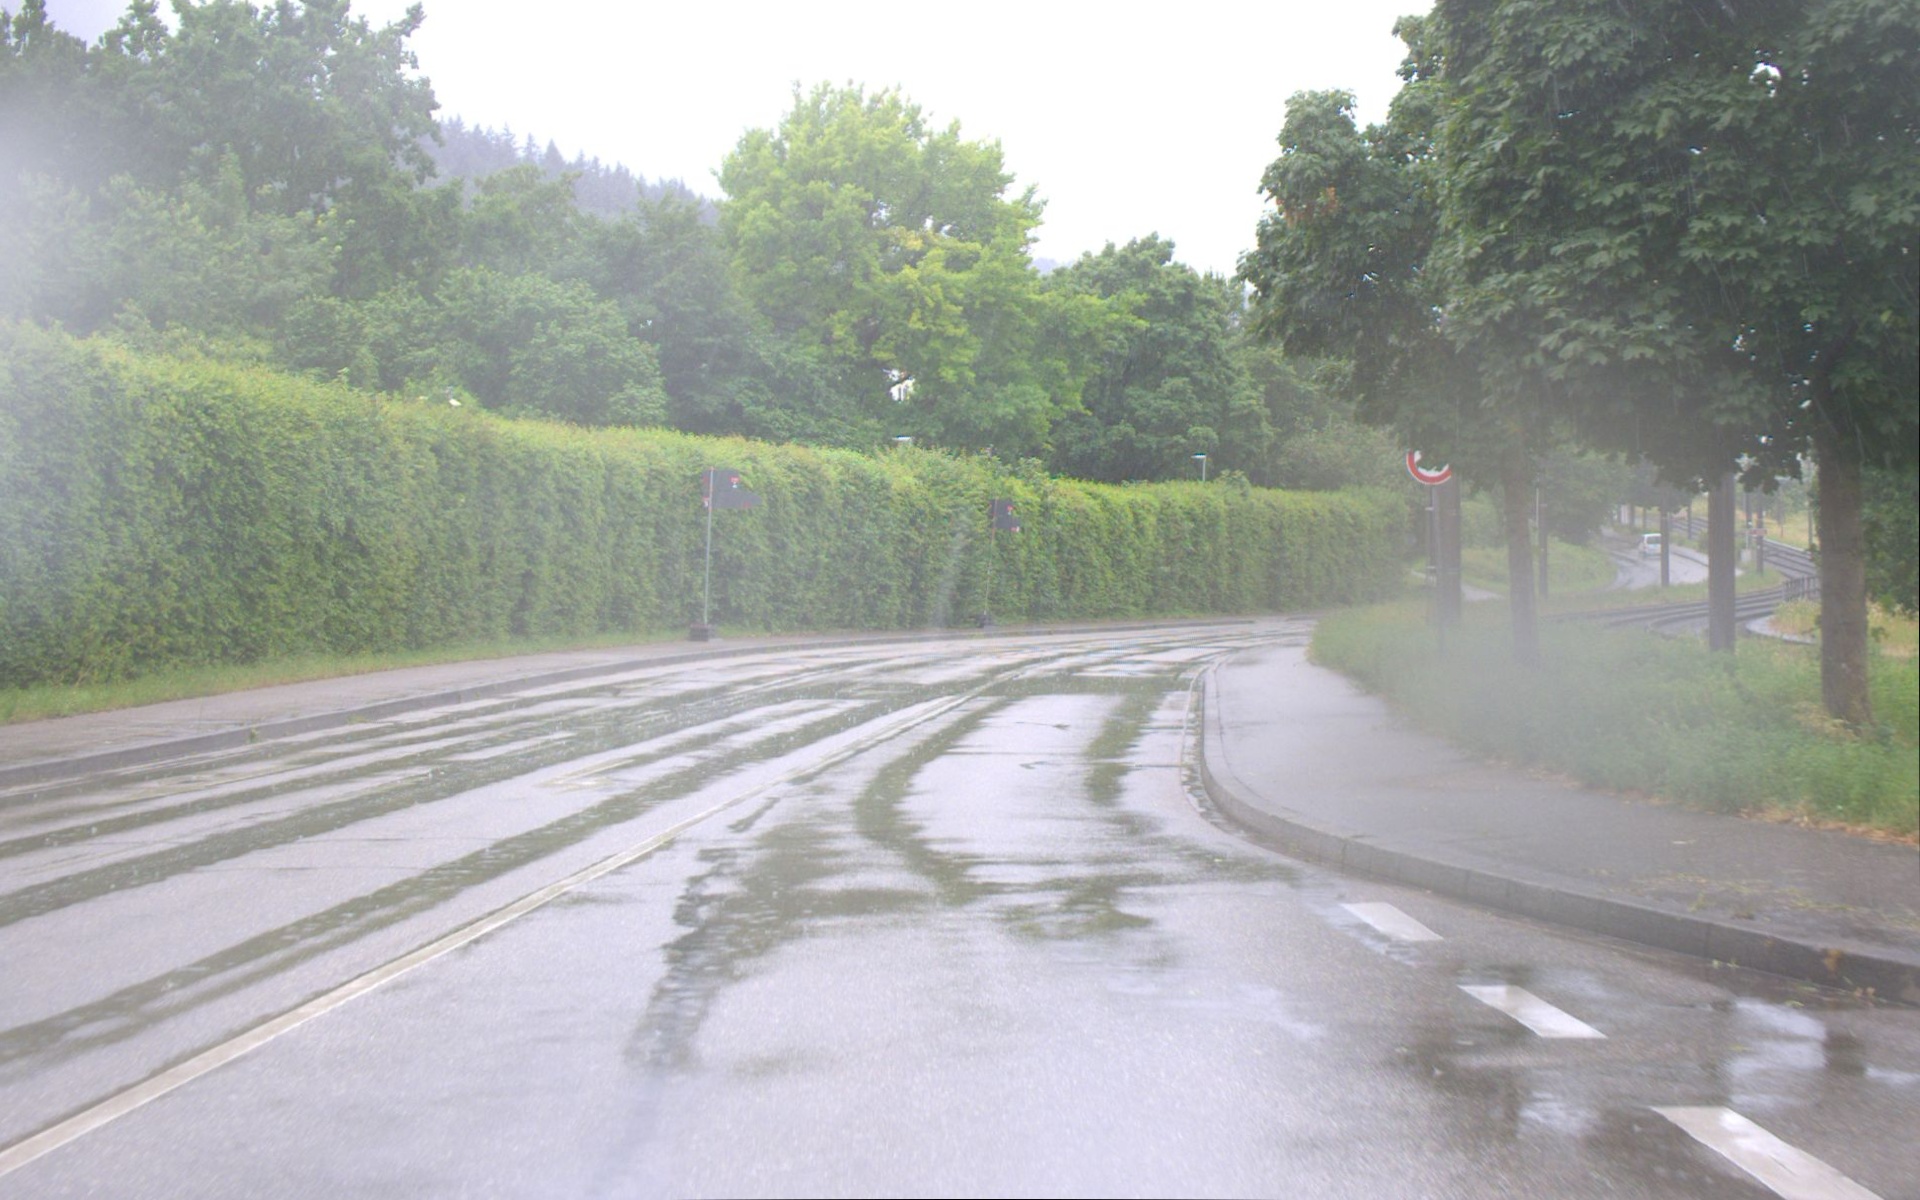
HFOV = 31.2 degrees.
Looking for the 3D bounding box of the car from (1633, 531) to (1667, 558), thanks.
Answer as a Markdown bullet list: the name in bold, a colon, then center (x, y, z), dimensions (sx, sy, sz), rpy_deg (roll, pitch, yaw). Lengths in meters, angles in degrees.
- **car**: center (49.489, -3.975, 246.530), dimensions (1.955, 1.897, 4.117), rpy_deg (0, 1, 17)
